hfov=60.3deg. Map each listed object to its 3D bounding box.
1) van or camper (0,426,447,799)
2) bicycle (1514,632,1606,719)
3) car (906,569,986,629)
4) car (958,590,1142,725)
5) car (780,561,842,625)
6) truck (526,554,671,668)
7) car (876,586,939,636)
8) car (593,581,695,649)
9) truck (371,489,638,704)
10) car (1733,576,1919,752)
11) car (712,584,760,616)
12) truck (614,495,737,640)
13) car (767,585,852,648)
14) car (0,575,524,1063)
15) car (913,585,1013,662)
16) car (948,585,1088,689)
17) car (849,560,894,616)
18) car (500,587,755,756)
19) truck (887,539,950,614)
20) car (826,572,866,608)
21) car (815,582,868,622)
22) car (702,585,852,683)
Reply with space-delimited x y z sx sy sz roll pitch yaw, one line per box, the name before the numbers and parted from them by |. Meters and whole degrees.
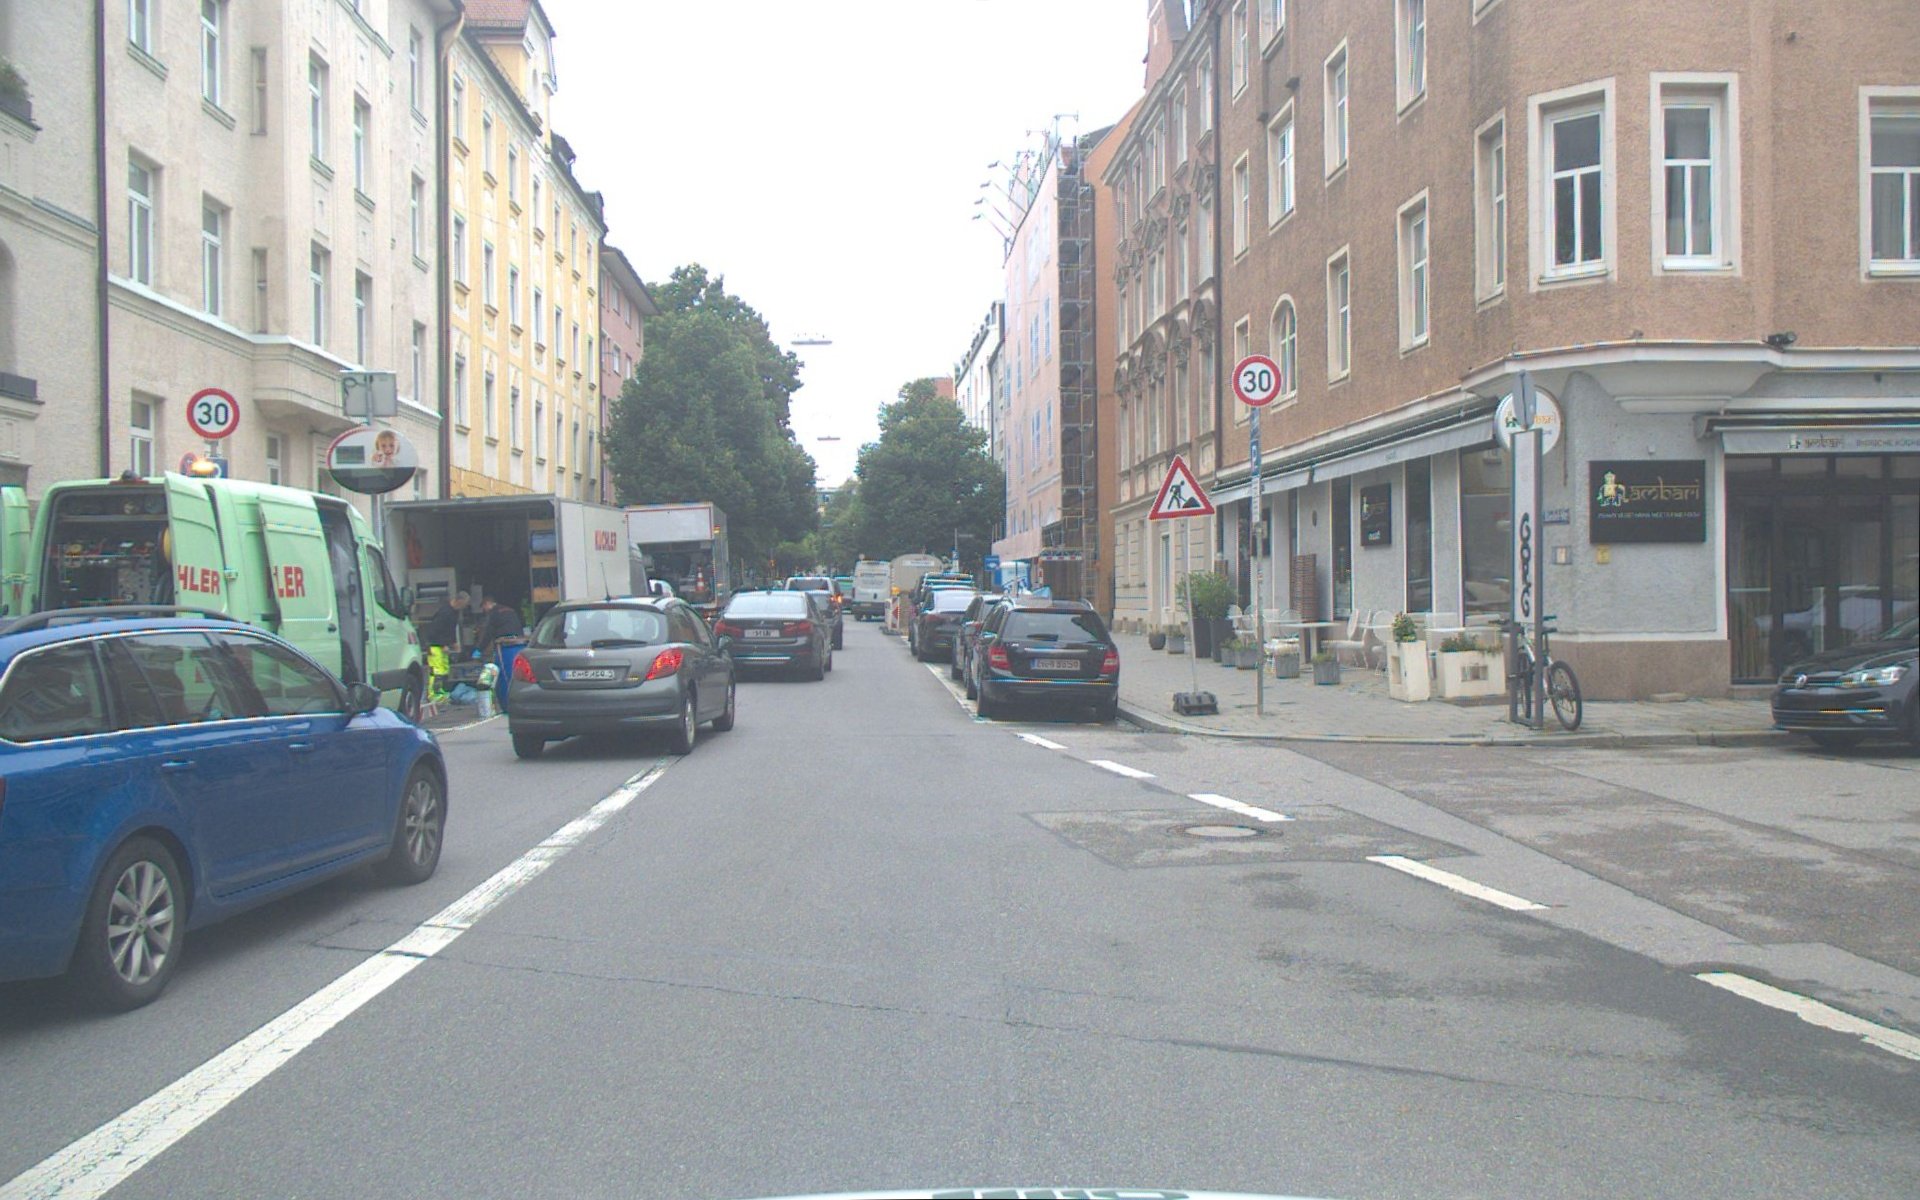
van or camper | -7.105 0.036 15.994 2.548 2.889 6.183 -1 1 -3
bicycle | 6.094 0.756 16.857 0.447 0.819 1.326 0 0 -1
car | -0.416 -0.063 43.693 1.950 1.454 4.139 -1 1 -3
car | 1.056 0.664 21.407 1.808 1.454 4.180 2 1 -4
car | -5.153 -0.275 57.767 1.950 2.111 4.139 -1 1 -3
truck | -7.452 0.201 34.570 2.241 2.209 4.803 0 0 -4
car | -1.708 0.324 53.250 1.950 1.454 4.139 -1 1 -3
car | -7.955 0.349 41.927 1.950 1.639 4.138 0 0 -3
truck | -6.973 -0.132 26.400 2.719 2.923 7.196 -1 1 -4
car | 9.436 0.532 14.840 4.086 1.454 1.924 -1 -2 -3
car | -10.332 -0.010 76.533 1.901 1.473 3.863 0 0 -4
truck | -8.381 -0.928 49.504 2.953 4.021 6.989 0 0 -5
car | -3.805 0.392 42.326 1.950 1.454 4.139 -1 1 -3
car | -3.699 0.692 7.233 1.945 1.479 4.737 -1 0 5
car | 0.002 0.454 35.886 1.808 1.454 4.303 2 1 -4
car | 0.864 0.548 27.187 1.808 1.454 4.137 2 1 -4
car | -4.071 -0.543 76.594 1.900 2.523 4.781 0 0 -1
car | -3.244 0.635 16.908 1.722 1.486 4.074 -1 0 1
truck | -1.798 -0.983 69.704 2.442 3.025 5.324 0 0 -4
car | -6.223 -0.541 90.665 1.953 1.937 3.999 0 0 -1
car | -4.645 0.046 65.408 1.950 1.454 4.139 -1 1 -3
car | -3.008 0.514 28.173 1.949 1.454 4.906 0 1 1
